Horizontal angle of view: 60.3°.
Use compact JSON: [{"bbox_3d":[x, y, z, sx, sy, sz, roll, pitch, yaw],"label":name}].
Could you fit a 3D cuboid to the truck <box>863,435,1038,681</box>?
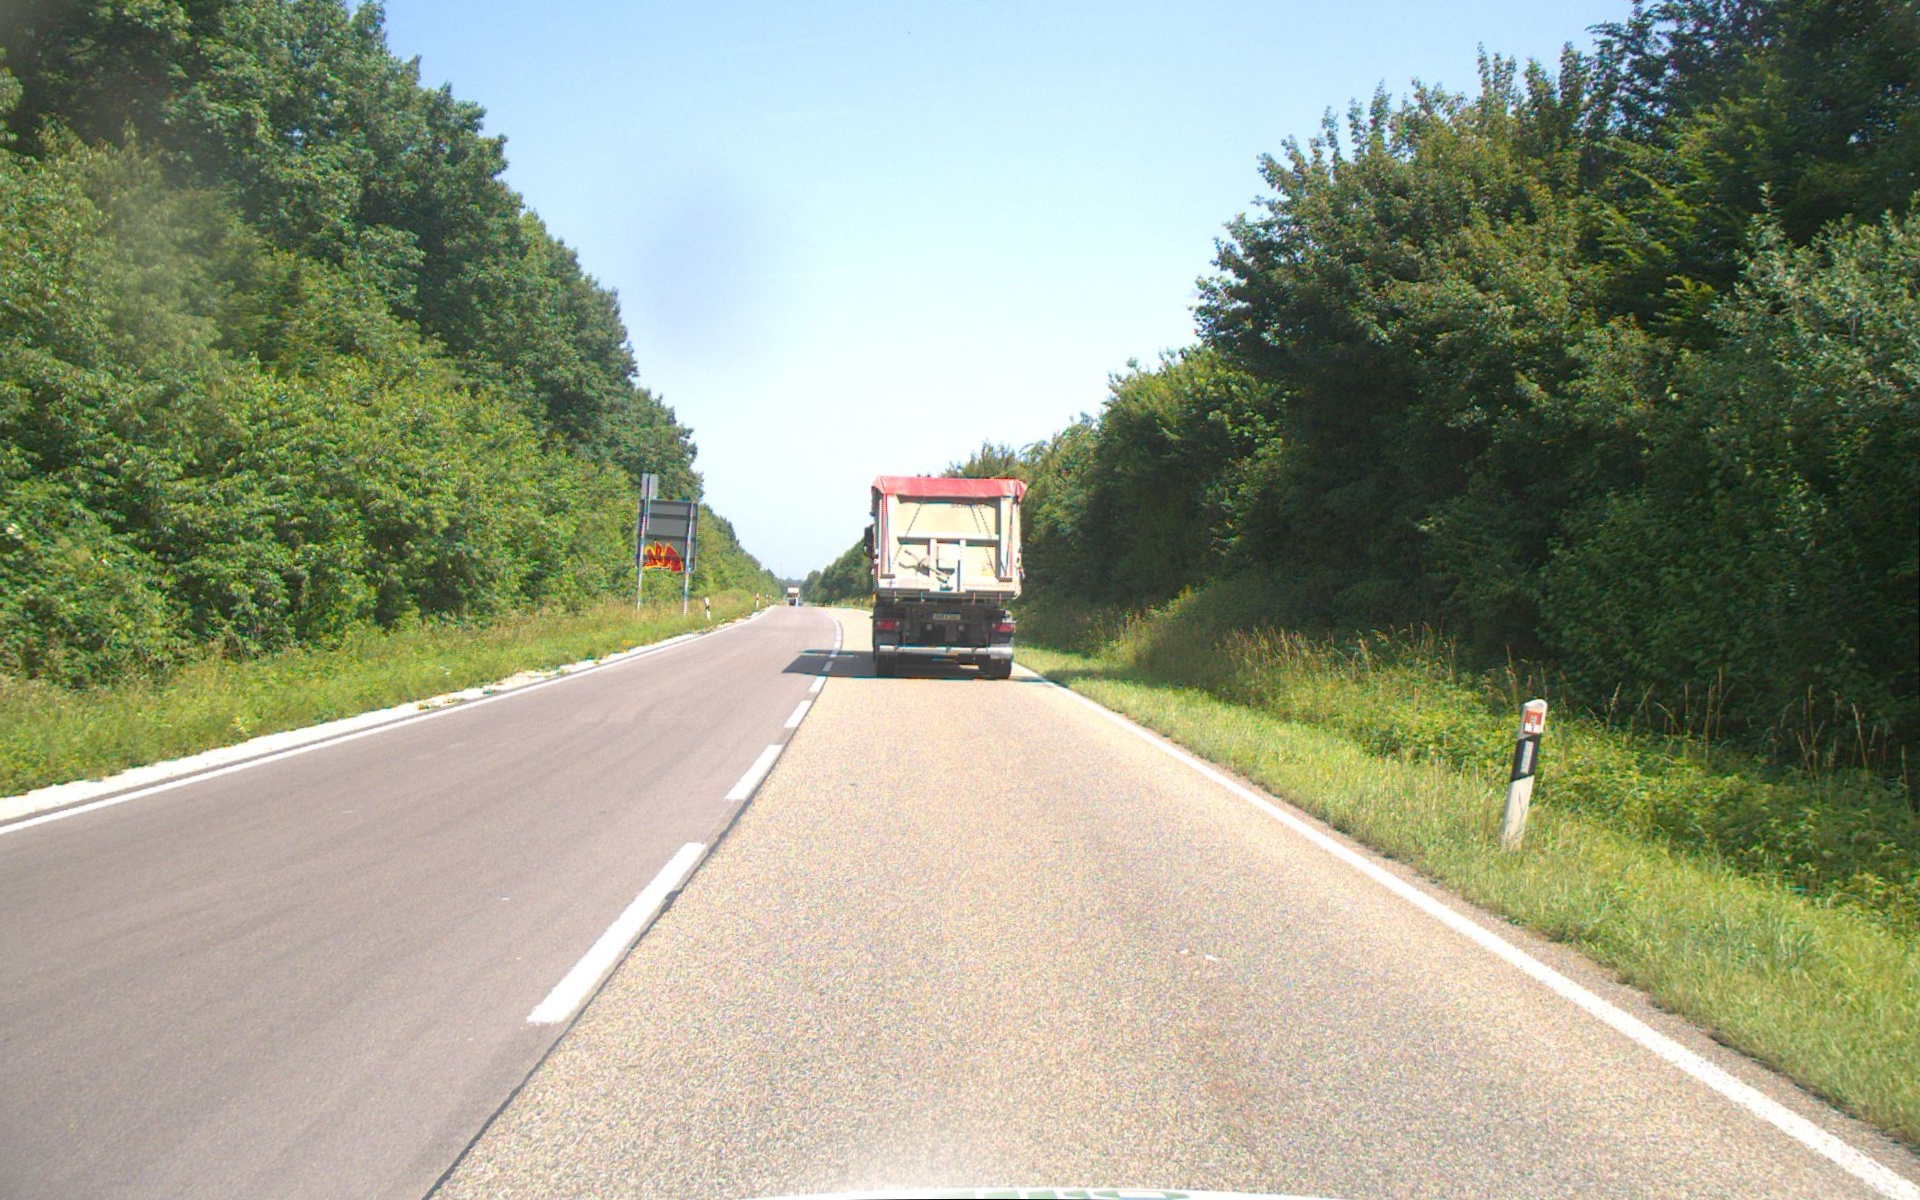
[{"bbox_3d":[-0.503,-0.734,33.427,2.836,4.031,11.924,1,0,-3],"label":"truck"}]
